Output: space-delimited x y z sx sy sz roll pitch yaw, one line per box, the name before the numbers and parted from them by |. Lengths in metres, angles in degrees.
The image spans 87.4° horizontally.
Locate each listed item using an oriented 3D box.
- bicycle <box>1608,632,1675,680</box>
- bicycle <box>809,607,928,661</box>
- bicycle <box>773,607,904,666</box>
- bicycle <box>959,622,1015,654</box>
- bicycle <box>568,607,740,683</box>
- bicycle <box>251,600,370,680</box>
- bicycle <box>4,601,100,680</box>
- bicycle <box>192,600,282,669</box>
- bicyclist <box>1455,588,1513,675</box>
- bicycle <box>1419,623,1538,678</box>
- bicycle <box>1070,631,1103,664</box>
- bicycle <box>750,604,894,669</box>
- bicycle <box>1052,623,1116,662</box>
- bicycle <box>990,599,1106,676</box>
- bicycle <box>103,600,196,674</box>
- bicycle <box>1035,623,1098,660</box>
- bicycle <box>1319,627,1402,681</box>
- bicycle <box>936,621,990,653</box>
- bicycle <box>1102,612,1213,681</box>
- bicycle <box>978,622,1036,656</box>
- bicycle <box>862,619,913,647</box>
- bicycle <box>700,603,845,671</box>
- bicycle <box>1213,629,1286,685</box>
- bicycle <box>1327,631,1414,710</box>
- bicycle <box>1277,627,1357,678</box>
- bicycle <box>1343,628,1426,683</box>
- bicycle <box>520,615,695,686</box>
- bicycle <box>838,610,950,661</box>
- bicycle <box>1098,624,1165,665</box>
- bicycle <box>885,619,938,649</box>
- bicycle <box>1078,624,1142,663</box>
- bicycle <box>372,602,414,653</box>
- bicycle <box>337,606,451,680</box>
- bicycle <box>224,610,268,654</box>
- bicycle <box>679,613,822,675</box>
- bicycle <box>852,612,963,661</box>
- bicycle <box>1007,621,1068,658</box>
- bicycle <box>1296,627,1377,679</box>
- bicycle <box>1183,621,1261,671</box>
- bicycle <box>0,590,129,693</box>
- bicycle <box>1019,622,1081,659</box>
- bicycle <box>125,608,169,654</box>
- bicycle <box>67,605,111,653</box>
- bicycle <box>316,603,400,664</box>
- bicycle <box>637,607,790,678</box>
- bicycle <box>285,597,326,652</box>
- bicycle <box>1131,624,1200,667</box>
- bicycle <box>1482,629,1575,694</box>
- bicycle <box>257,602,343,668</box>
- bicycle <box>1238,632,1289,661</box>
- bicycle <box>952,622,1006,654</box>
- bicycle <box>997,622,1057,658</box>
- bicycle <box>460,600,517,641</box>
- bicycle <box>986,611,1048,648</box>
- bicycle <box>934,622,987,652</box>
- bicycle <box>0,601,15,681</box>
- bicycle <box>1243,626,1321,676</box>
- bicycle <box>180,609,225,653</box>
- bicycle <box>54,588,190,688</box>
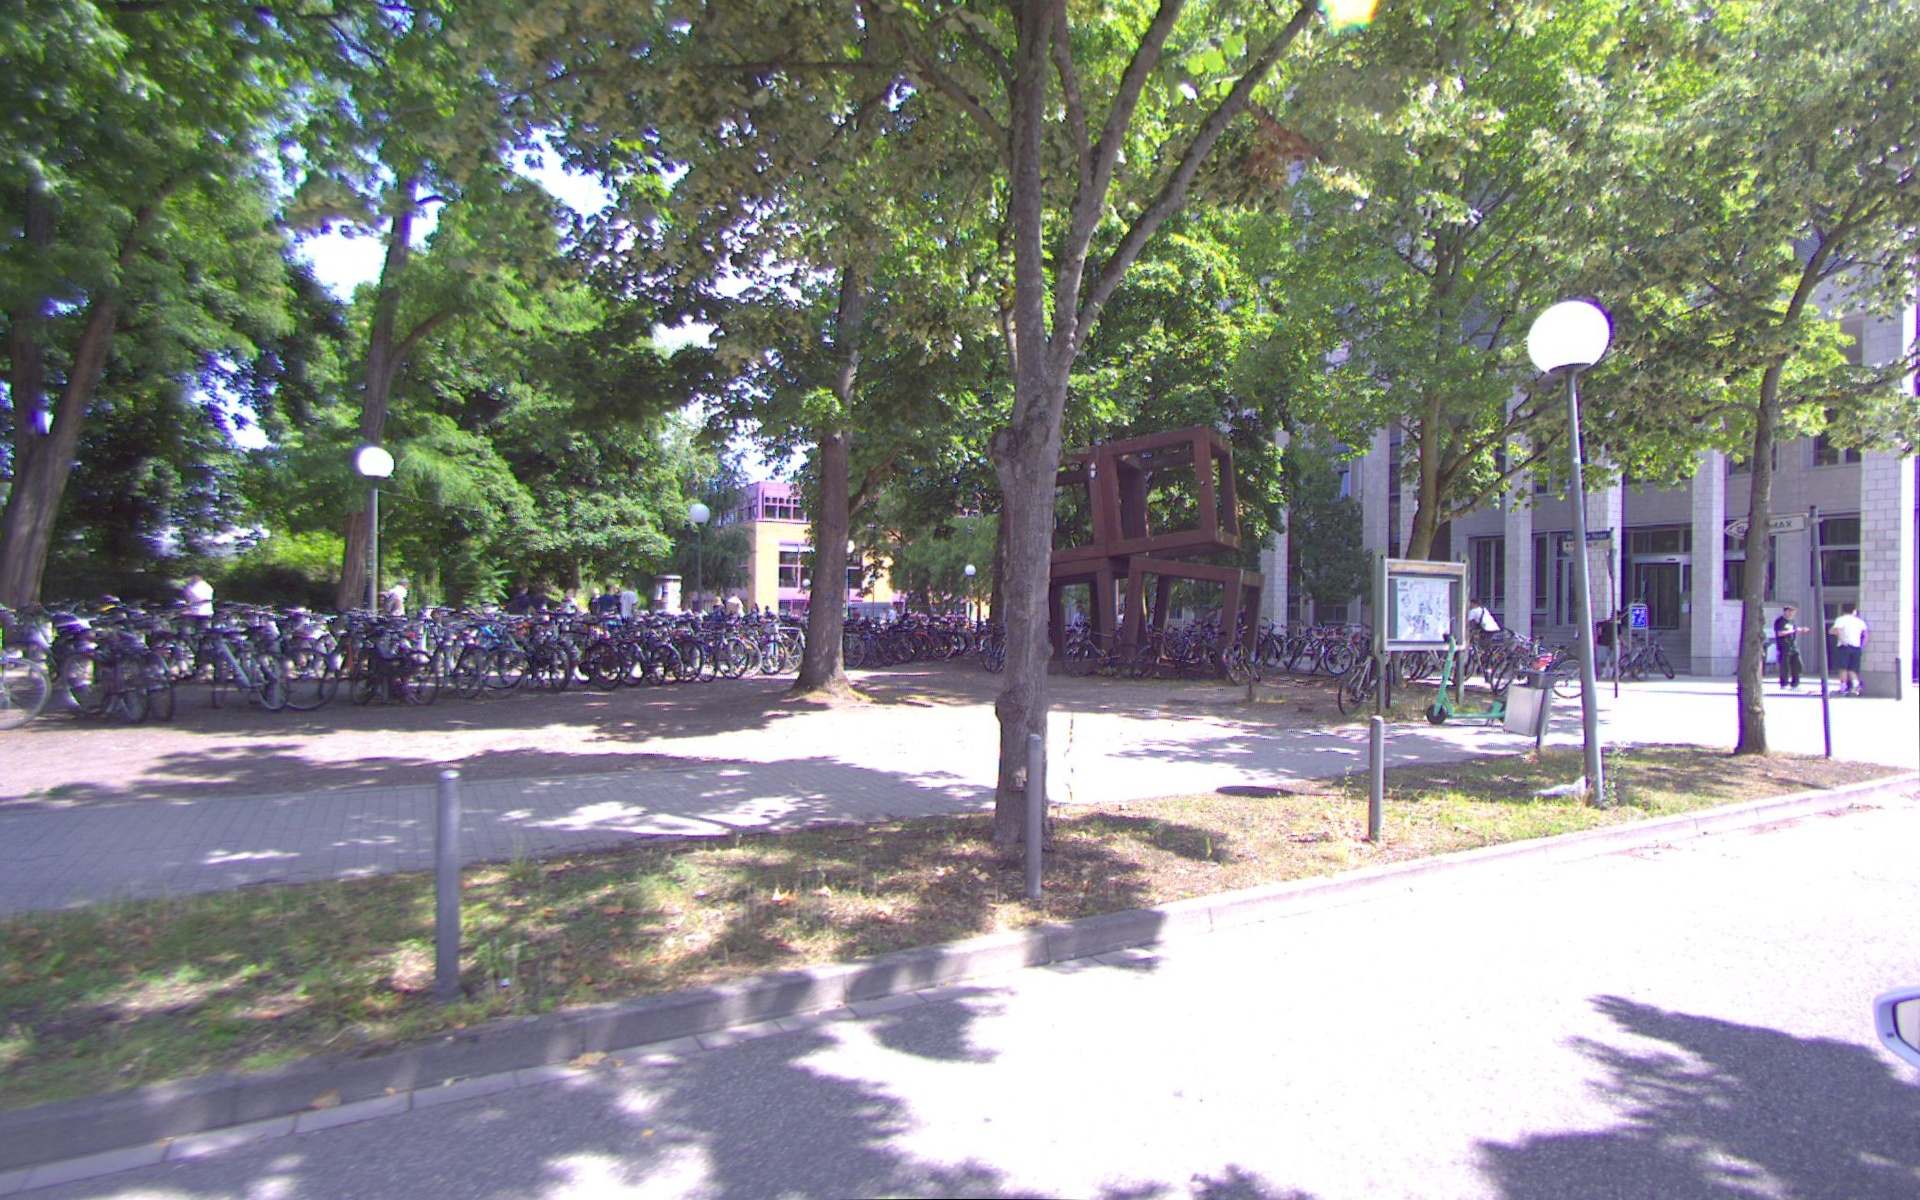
bicycle | 16.177 1.314 23.825 1.840 1.028 0.463 -1 2 -26
bicycle | -2.211 0.806 24.271 2.781 1.249 0.743 0 0 18
bicycle | -2.793 0.817 23.011 2.902 1.141 0.743 3 1 18
bicycle | 0.947 1.337 35.413 1.950 1.101 0.549 1 1 -30
bicycle | -5.257 0.742 17.258 2.826 1.193 0.883 1 0 18
bicycle | -10.344 0.608 15.980 2.022 1.173 0.639 1 1 26
bicycle | -13.665 0.582 15.101 1.933 1.104 0.546 1 0 32
bicycle | -12.417 0.568 17.228 1.933 1.104 0.546 1 0 32
bicyclist | 12.600 0.748 24.169 0.862 2.040 0.846 1 0 -19
bicycle | 12.520 1.186 24.395 0.871 1.215 2.738 1 0 -18
bicycle | 3.235 1.202 25.553 0.317 0.773 1.558 1 0 27
bicycle | -3.010 0.769 21.866 3.022 1.314 0.883 1 0 18
bicycle | 3.723 1.256 30.042 1.950 1.101 0.549 1 1 -30
bicycle | 1.748 0.724 20.119 2.248 1.469 0.606 1 0 28
bicycle | -13.077 0.574 16.185 1.933 1.104 0.546 1 0 32
bicycle | 3.240 1.255 30.533 1.950 1.101 0.549 1 1 -30
bicycle | 8.662 1.154 21.710 1.950 1.101 0.549 1 1 -30
bicycle | 0.116 1.350 36.674 1.950 1.101 0.549 1 1 -30
bicycle | 3.733 0.860 19.039 1.984 1.270 0.586 -1 -1 29
bicycle | 1.599 1.310 33.907 1.950 1.101 0.549 1 1 -30
bicycle | -2.895 1.315 40.046 1.950 1.101 0.614 1 1 -30
bicycle | -3.882 0.737 20.762 2.875 1.304 0.883 1 0 18
bicycle | 5.331 1.033 18.476 1.644 0.978 0.471 1 0 -41
bicycle | 5.743 0.953 14.010 1.802 1.039 0.378 1 0 -43
bicycle | 8.138 1.174 22.857 1.950 1.101 0.549 1 1 -30
bicycle | 8.991 1.151 21.250 1.950 1.101 0.549 1 1 -30
bicycle | -5.705 0.787 16.249 2.679 1.016 0.883 1 0 18
bicycle | -1.674 0.882 25.385 2.708 1.083 0.743 3 1 18
bicycle | 4.879 1.248 28.533 1.950 1.101 0.549 1 1 -30
bicycle | -1.860 1.306 38.413 1.950 1.101 0.614 1 1 -30
bicycle | 4.451 1.275 29.800 1.950 1.101 0.549 1 1 -30
bicycle | -14.211 0.666 25.140 1.772 1.223 0.421 1 1 44
bicycle | -9.570 0.706 16.964 2.022 1.147 0.639 1 1 26
bicycle | -16.133 0.710 22.676 1.741 0.906 0.417 1 1 41
bicycle | -4.077 0.836 19.583 2.630 1.091 0.883 1 0 18
bicycle | -1.392 0.937 26.510 2.853 1.171 0.743 1 0 18
bicycle | 2.469 1.245 31.791 1.950 1.101 0.549 1 1 -30
bicycle | 8.345 1.160 22.225 1.950 1.101 0.549 1 1 -30
bicycle | 5.706 0.995 21.820 1.828 1.046 0.473 1 0 -30
bicycle | -11.819 0.513 13.160 2.022 1.251 0.639 1 1 26
bicycle | 2.815 1.264 31.263 1.950 1.101 0.549 1 1 -30
bicycle | -17.144 0.633 21.169 1.741 0.906 0.417 1 1 41
bicycle | -17.626 0.577 20.319 1.741 0.906 0.417 1 1 41
bicycle | -11.588 0.623 19.307 1.933 1.104 0.546 1 0 32
bicycle | -4.524 0.748 18.428 2.655 1.195 0.883 1 0 18
bicycle | -15.398 0.560 23.622 1.772 1.223 0.421 1 1 44
bicycle | 5.585 1.229 27.232 1.950 1.101 0.549 1 1 -30
bicycle | 10.413 1.105 18.375 1.950 1.101 0.549 1 1 -30
bicycle | -12.034 0.615 18.300 1.933 1.104 0.546 1 0 32
bicycle | 10.581 1.609 34.959 1.971 0.959 0.523 1 0 -31
bicycle | 0.695 1.358 36.276 1.950 1.101 0.549 1 1 -30
bicycle | 2.163 1.280 32.426 1.950 1.101 0.549 1 1 -30
bicycle | -12.677 0.537 26.997 2.029 1.049 0.504 1 0 37
bicycle | 1.884 0.963 33.044 2.067 1.137 0.547 -1 2 -31
bicycle | 0.009 1.375 37.511 1.950 1.101 0.549 1 1 -30
bicycle | -14.166 0.557 14.299 1.933 1.104 0.546 1 0 32
bicycle | 7.541 1.173 23.481 1.950 1.101 0.549 1 1 -30
bicycle | -16.628 0.669 22.037 1.741 0.906 0.417 1 1 41
bicycle | -11.486 0.482 13.756 2.022 1.251 0.639 2 1 26
